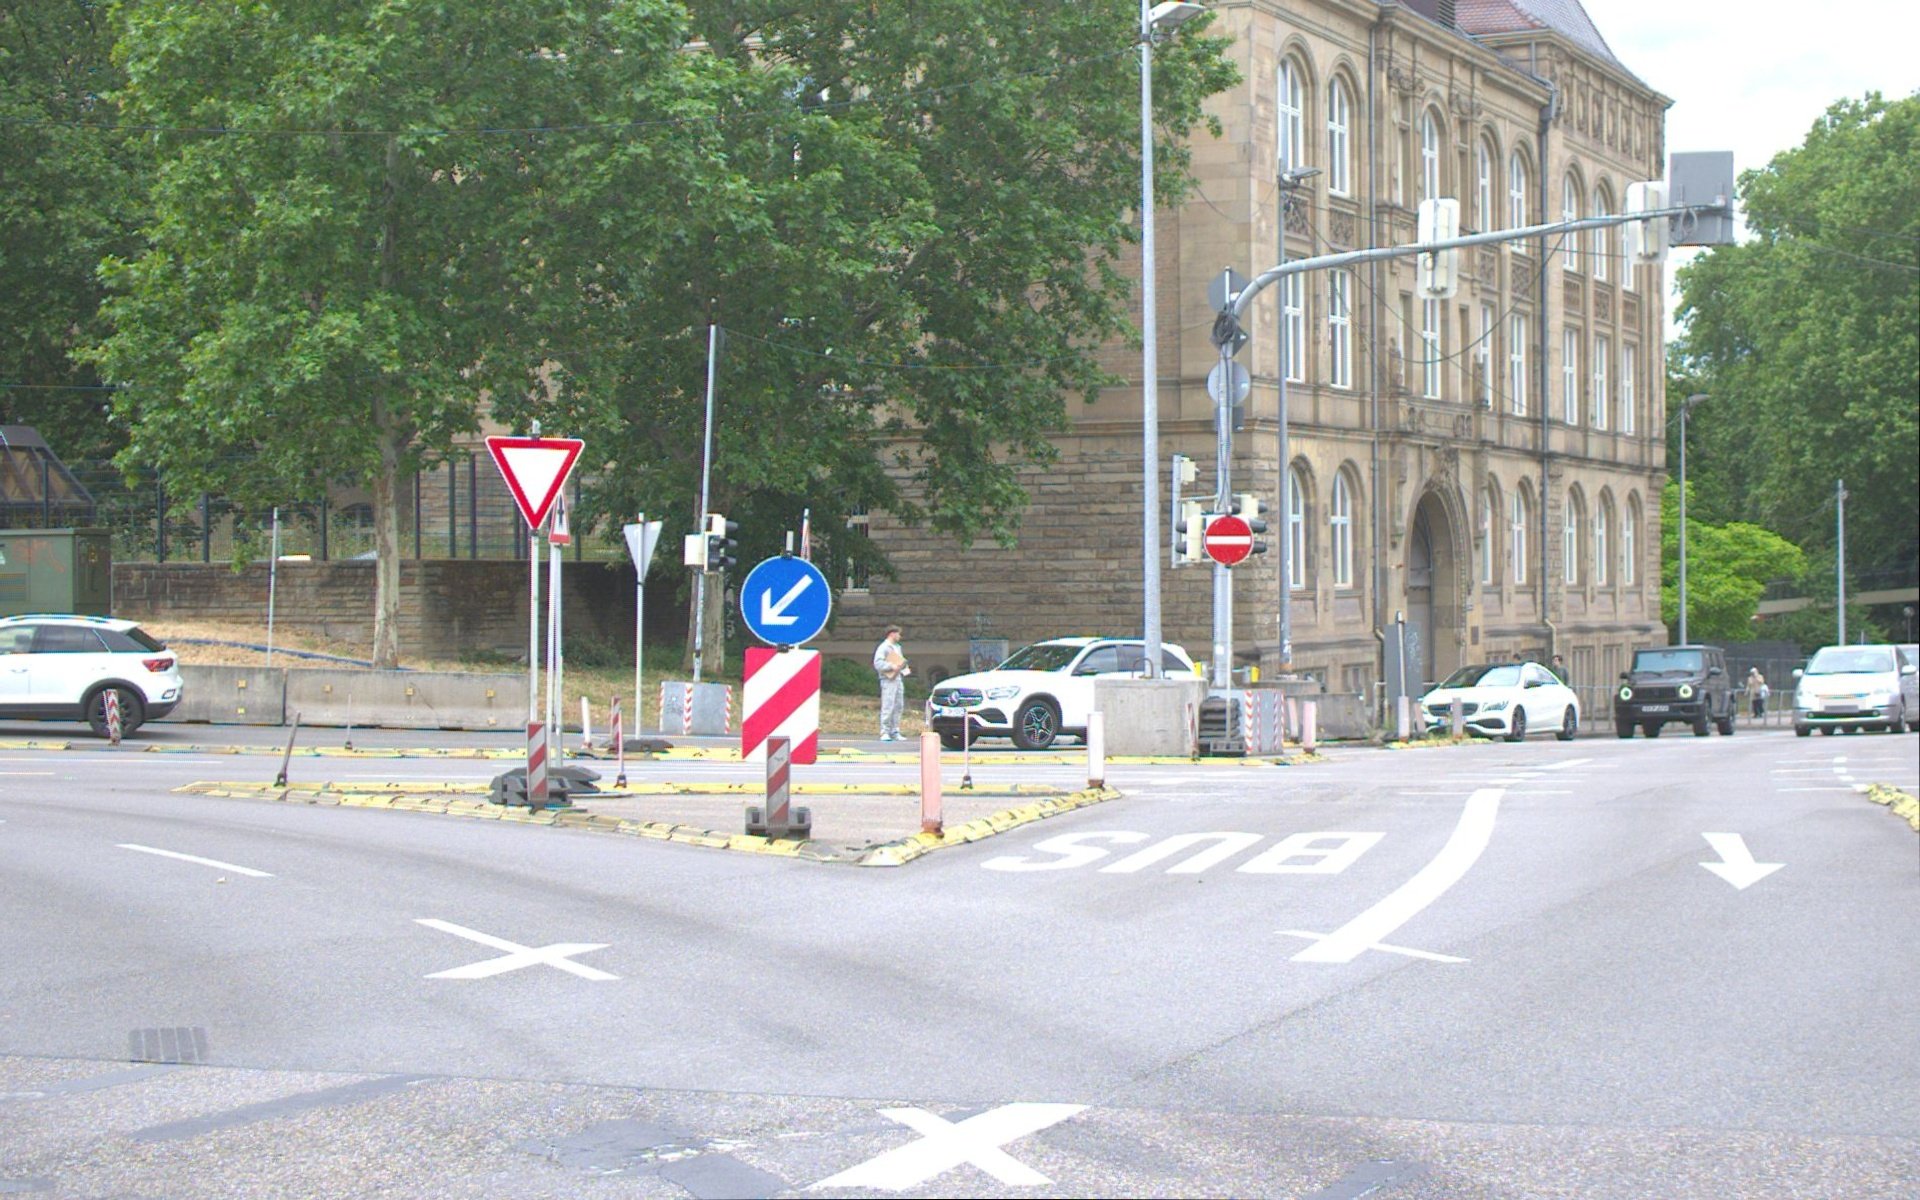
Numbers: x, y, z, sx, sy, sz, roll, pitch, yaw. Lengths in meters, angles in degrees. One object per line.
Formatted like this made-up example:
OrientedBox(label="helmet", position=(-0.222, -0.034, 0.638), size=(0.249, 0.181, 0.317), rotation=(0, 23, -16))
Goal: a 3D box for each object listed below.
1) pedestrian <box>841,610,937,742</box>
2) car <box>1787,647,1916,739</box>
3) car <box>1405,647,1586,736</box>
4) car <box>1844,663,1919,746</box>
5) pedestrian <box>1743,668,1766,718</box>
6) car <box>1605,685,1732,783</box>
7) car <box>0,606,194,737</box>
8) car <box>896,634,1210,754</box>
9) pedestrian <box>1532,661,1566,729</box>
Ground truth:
OrientedBox(label="pedestrian", position=(-1.094, 1.163, 52.921), size=(1.190, 2.007, 1.204), rotation=(0, -1, -17))
OrientedBox(label="car", position=(14.663, 1.545, 56.463), size=(1.661, 1.431, 3.443), rotation=(-2, -3, 20))
OrientedBox(label="car", position=(9.446, 1.568, 60.346), size=(1.737, 1.430, 4.374), rotation=(1, 0, 29))
OrientedBox(label="car", position=(17.234, 1.904, 62.972), size=(1.662, 1.430, 3.443), rotation=(1, 0, 20))
OrientedBox(label="pedestrian", position=(26.313, 3.078, 113.921), size=(0.660, 1.630, 0.850), rotation=(-1, -1, 18))
OrientedBox(label="car", position=(15.227, 2.904, 73.769), size=(1.935, 1.932, 3.668), rotation=(-3, -5, 23))
OrientedBox(label="car", position=(-12.335, 0.911, 45.265), size=(4.316, 1.562, 1.757), rotation=(1, 3, -11))
OrientedBox(label="car", position=(1.392, 1.373, 49.818), size=(4.539, 1.637, 1.816), rotation=(2, -1, -43))
OrientedBox(label="pedestrian", position=(14.235, 2.286, 83.076), size=(0.660, 1.630, 0.850), rotation=(-1, -1, 18))
